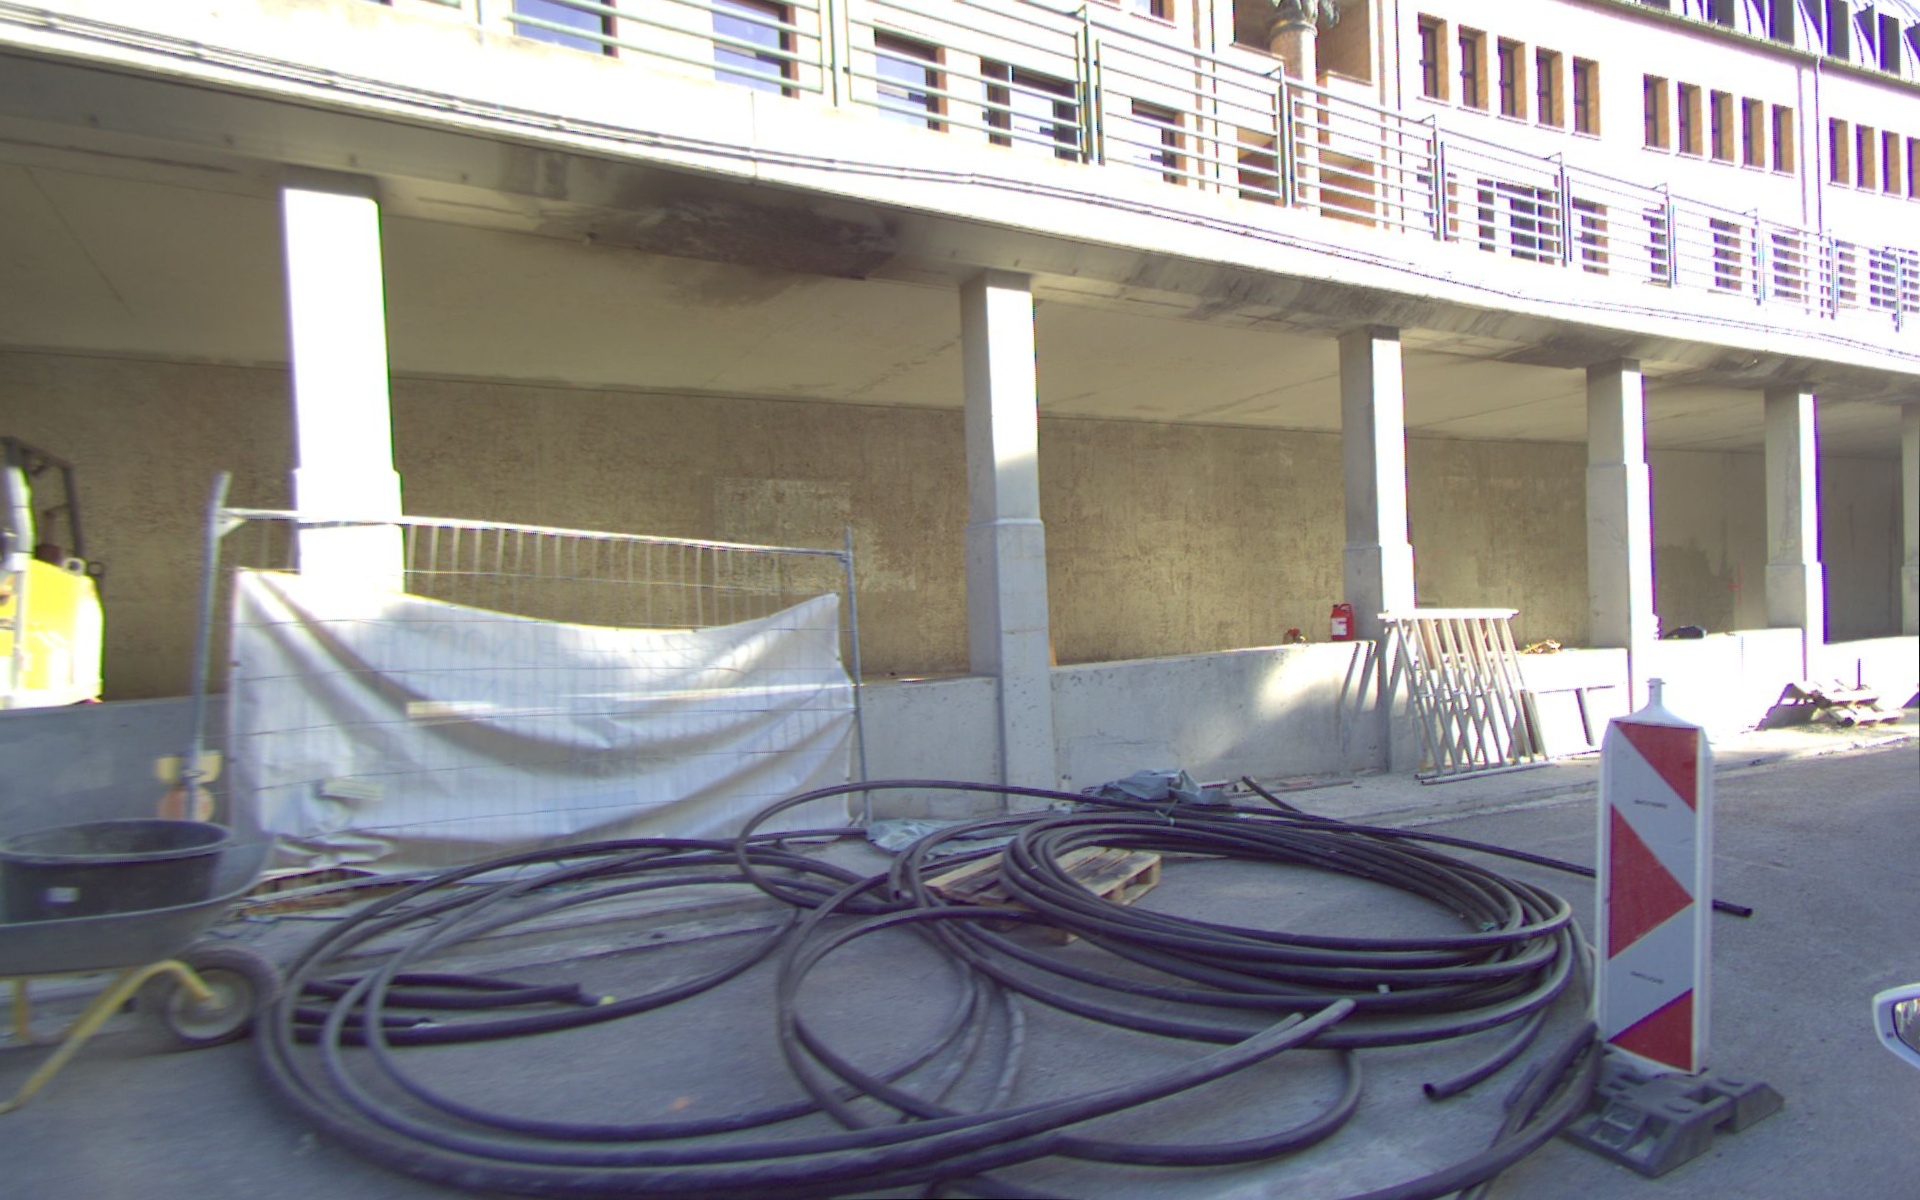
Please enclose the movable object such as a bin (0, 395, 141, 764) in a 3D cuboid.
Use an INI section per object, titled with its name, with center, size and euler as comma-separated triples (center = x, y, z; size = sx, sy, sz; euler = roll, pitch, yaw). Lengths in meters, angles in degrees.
[movable object such as a bin]
center = -6.711, -0.112, 5.611
size = 3.126, 2.013, 1.874
euler = 0, 0, -34
